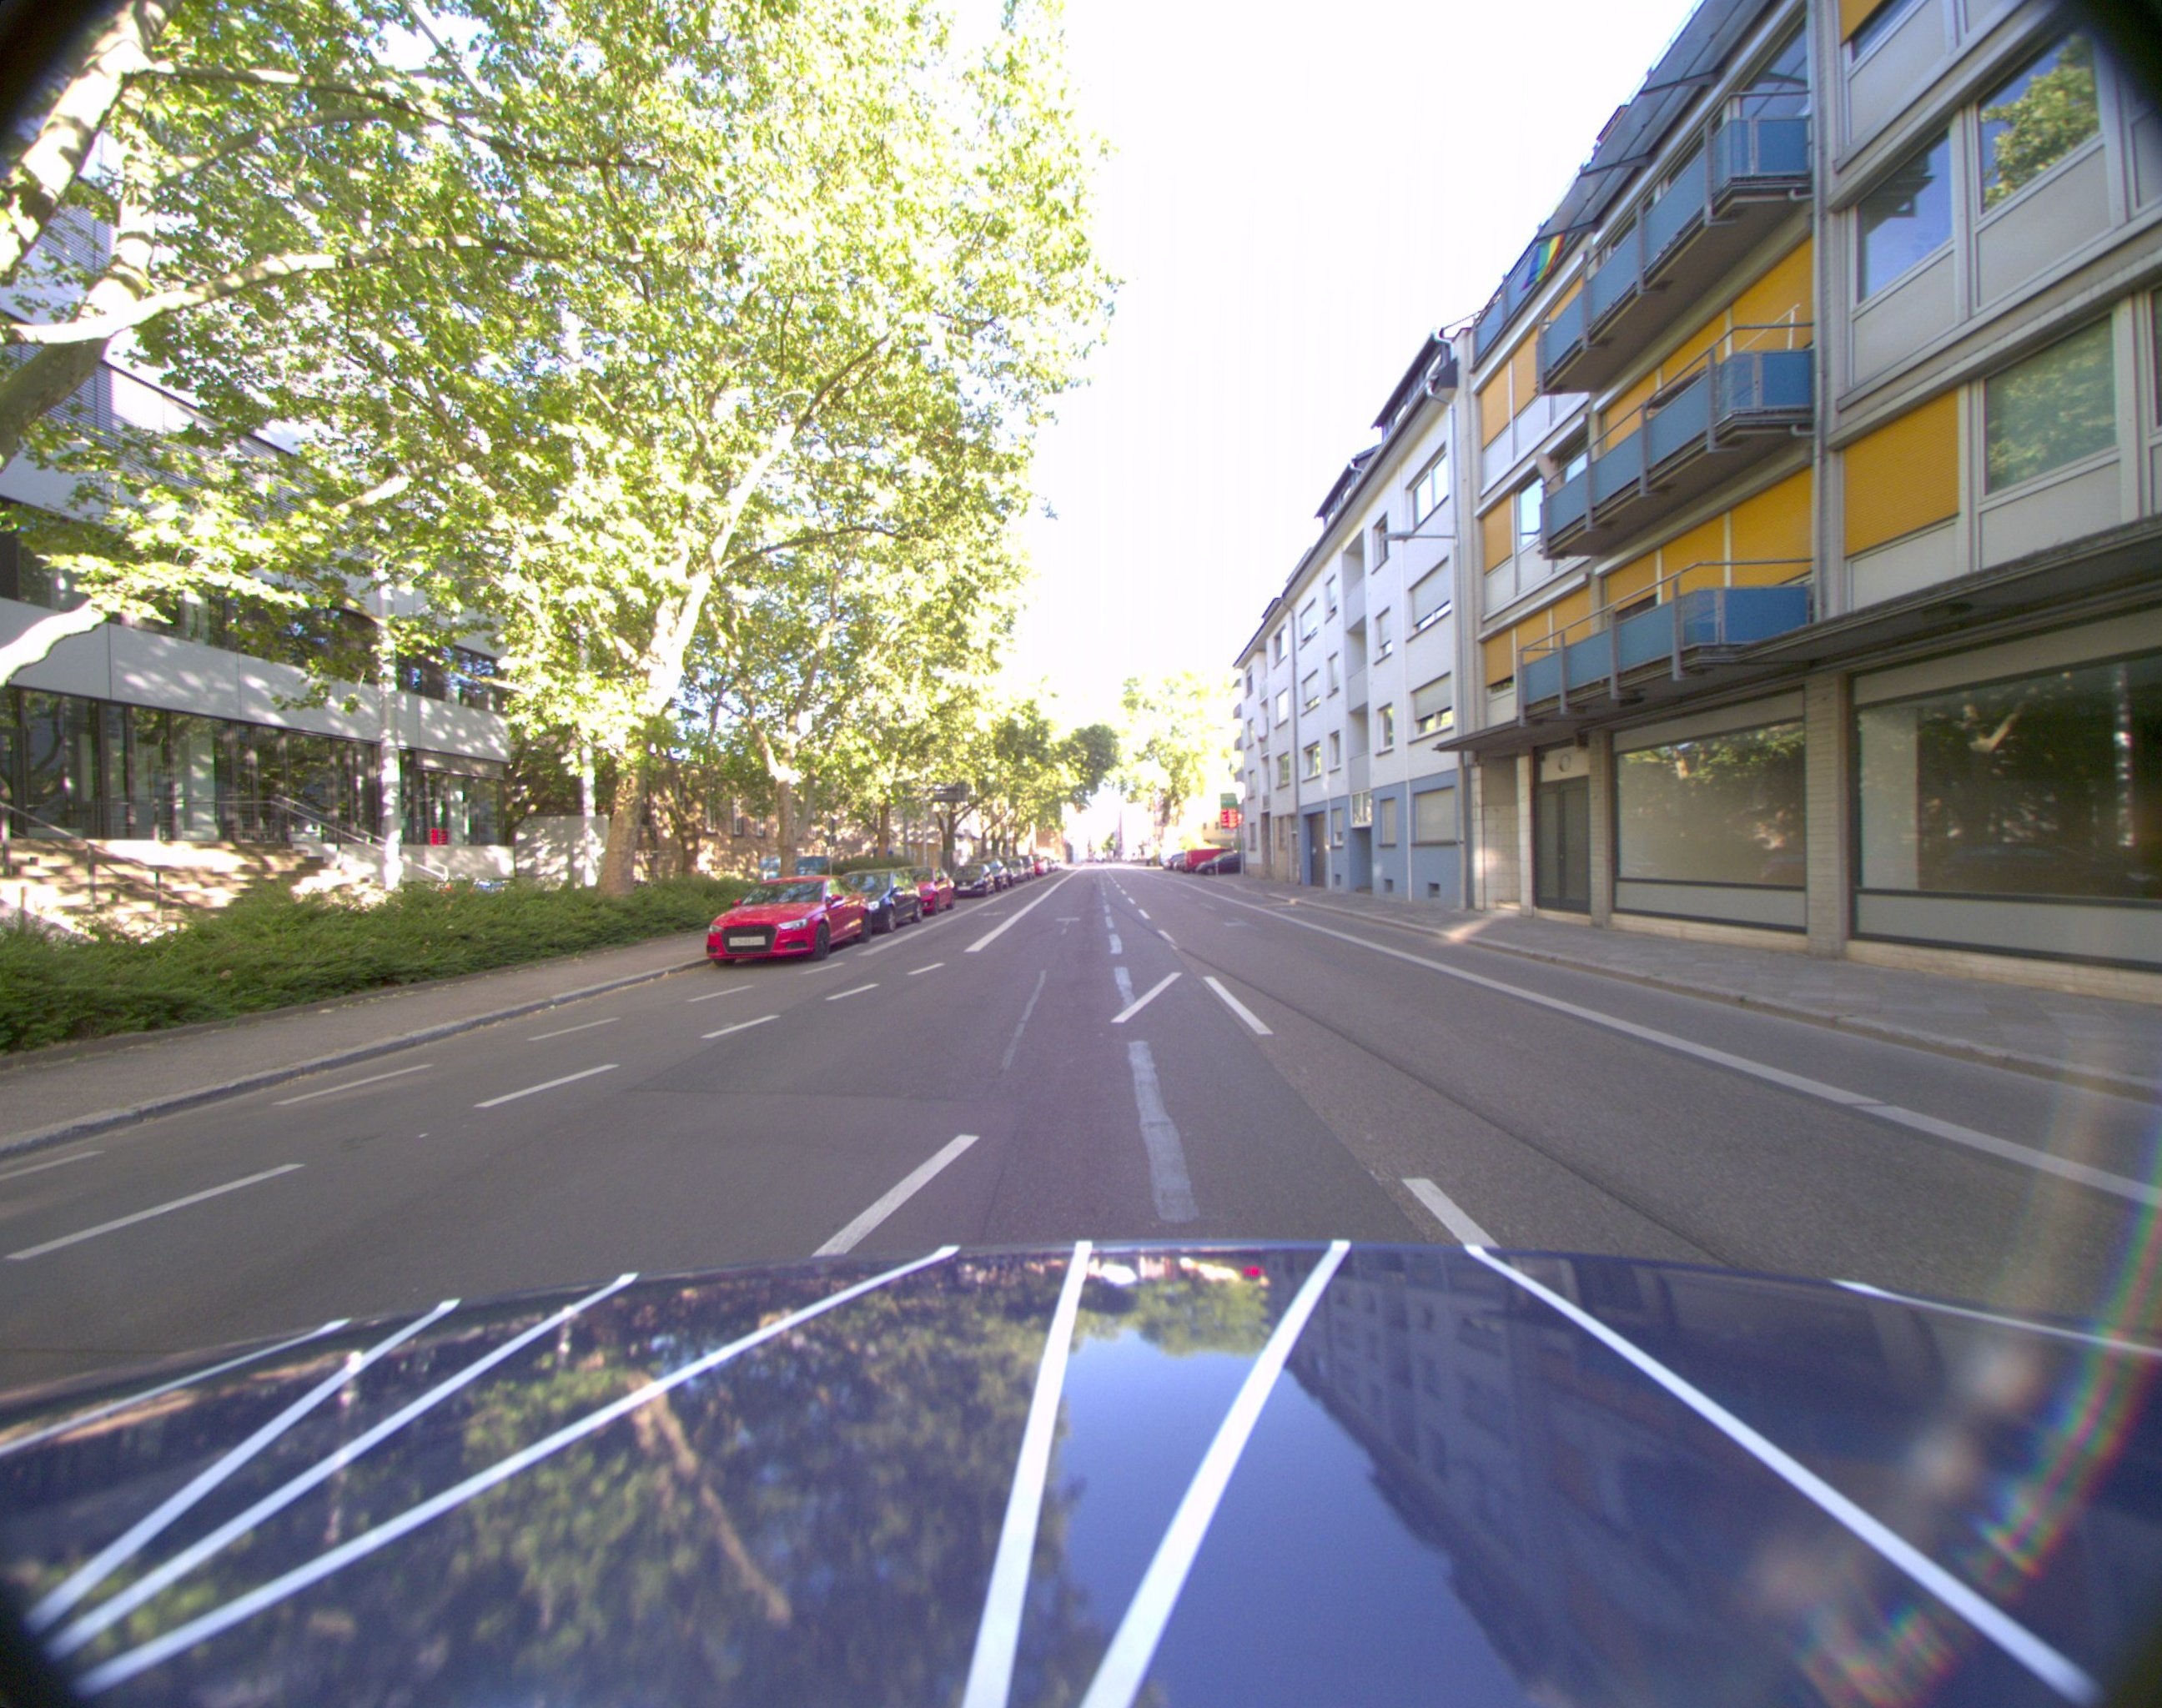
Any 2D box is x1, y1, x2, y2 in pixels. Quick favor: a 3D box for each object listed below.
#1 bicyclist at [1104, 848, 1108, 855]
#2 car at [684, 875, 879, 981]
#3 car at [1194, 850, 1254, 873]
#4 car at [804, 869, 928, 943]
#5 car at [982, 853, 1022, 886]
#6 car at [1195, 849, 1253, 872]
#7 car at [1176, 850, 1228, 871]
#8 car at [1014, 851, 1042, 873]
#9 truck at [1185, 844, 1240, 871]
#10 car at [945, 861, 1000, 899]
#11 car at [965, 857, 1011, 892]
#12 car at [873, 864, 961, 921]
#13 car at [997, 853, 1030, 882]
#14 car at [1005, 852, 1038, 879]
[{"bbox_3d":[5.668,-0.608,169.641,0.717,1.573,0.936,-2,1,11],"label":"bicyclist"},{"bbox_3d":[-5.142,1.195,13.724,1.818,1.405,4.163,-3,0,0],"label":"car"},{"bbox_3d":[10.249,0.554,54.800,3.996,1.449,1.761,-2,1,2],"label":"car"},{"bbox_3d":[-5.086,1.173,18.580,1.818,1.405,4.163,-3,0,0],"label":"car"},{"bbox_3d":[-4.529,0.873,44.153,1.790,1.745,4.345,-3,0,0],"label":"car"},{"bbox_3d":[10.723,0.487,57.147,3.996,1.494,1.761,-2,1,2],"label":"car"},{"bbox_3d":[9.973,0.534,62.849,3.996,1.494,1.761,-2,1,2],"label":"car"},{"bbox_3d":[-4.596,0.704,66.097,2.042,1.745,4.552,-3,0,0],"label":"car"},{"bbox_3d":[10.363,0.253,59.996,3.996,1.925,1.761,-2,1,2],"label":"truck"},{"bbox_3d":[-4.707,1.081,33.390,1.790,1.451,4.163,-3,0,0],"label":"car"},{"bbox_3d":[-4.606,0.982,38.136,1.790,1.544,4.163,-3,0,0],"label":"car"},{"bbox_3d":[-5.034,1.127,23.864,1.818,1.475,4.163,-3,0,0],"label":"car"},{"bbox_3d":[-4.451,0.857,50.708,1.790,1.745,4.552,-3,0,0],"label":"car"},{"bbox_3d":[-4.322,0.801,55.667,2.042,1.745,4.552,-3,0,0],"label":"car"}]
